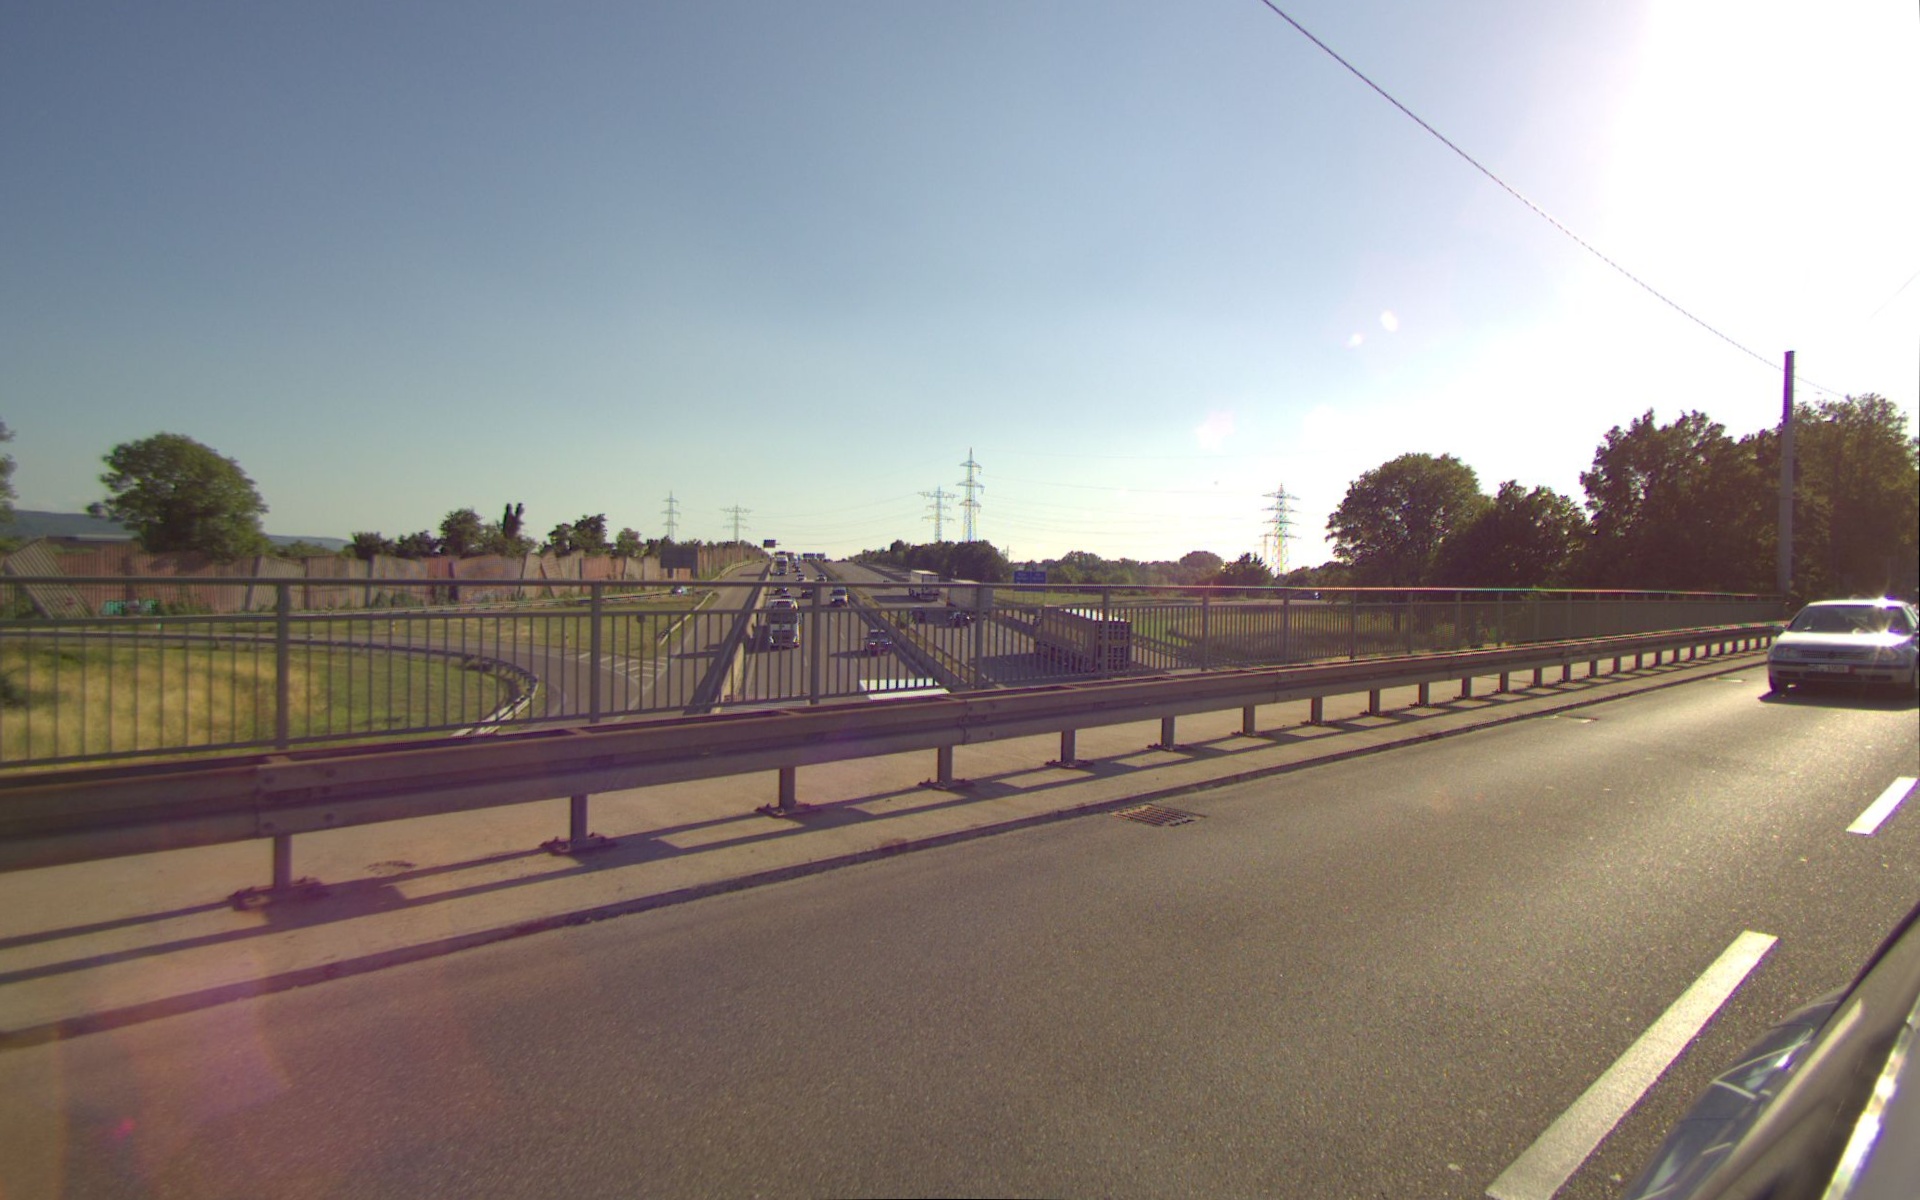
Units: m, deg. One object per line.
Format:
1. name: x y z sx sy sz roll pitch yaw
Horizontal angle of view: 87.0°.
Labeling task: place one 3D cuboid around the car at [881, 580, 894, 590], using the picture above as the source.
1. car: -12.708 -2.593 176.103 1.666 1.533 3.971 0 5 -13

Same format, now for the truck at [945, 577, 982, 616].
1. truck: 0.385 -0.485 124.977 3.210 4.330 6.393 3 2 -10

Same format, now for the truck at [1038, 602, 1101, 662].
1. truck: 8.246 2.319 77.170 2.992 3.928 6.621 -2 3 -10

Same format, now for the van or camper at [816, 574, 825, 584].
1. van or camper: -27.162 -4.124 197.371 1.716 1.790 3.827 -1 3 -9

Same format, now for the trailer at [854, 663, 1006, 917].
1. trailer: -1.266 4.614 28.605 2.506 4.206 12.009 -2 3 -10

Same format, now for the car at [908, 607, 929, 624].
1. car: -4.508 1.642 110.133 1.849 1.533 4.074 0 3 -8

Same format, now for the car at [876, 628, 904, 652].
1. car: -5.447 3.083 78.621 1.788 1.431 4.188 0 3 -10

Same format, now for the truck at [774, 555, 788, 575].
1. truck: -40.555 -7.949 229.461 2.730 4.127 7.546 -1 5 -9

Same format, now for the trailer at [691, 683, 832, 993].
1. trailer: -4.749 4.954 24.819 2.506 4.206 11.514 -2 3 -10

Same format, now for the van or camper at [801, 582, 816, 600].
1. van or camper: -22.040 -1.299 146.985 2.058 2.357 4.978 -1 3 -9

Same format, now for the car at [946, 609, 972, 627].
1. car: -0.130 1.856 105.732 1.848 1.533 3.969 0 3 -13

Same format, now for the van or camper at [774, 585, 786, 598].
1. van or camper: -27.617 -1.343 155.475 1.716 1.790 3.826 -1 3 -8

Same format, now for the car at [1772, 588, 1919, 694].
1. car: 14.327 0.545 15.930 4.063 1.435 1.692 -1 1 -41

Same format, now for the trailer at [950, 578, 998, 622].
1. trailer: 1.549 -0.106 118.357 3.239 4.326 11.579 3 2 -10

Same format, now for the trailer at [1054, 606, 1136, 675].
1. trailer: 9.312 2.654 71.219 2.992 3.901 9.394 -2 3 -10

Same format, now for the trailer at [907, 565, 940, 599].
1. trailer: -5.543 -2.730 150.851 2.992 4.513 13.145 -2 3 -10

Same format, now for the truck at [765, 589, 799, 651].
1. truck: -14.797 1.571 84.213 2.678 4.668 7.247 0 3 -10

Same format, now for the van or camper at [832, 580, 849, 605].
1. van or camper: -15.286 -1.003 129.404 1.954 2.856 4.828 -1 4 -9

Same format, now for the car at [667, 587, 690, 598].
1. car: -42.540 -1.101 152.813 1.735 1.617 3.674 0 1 15
